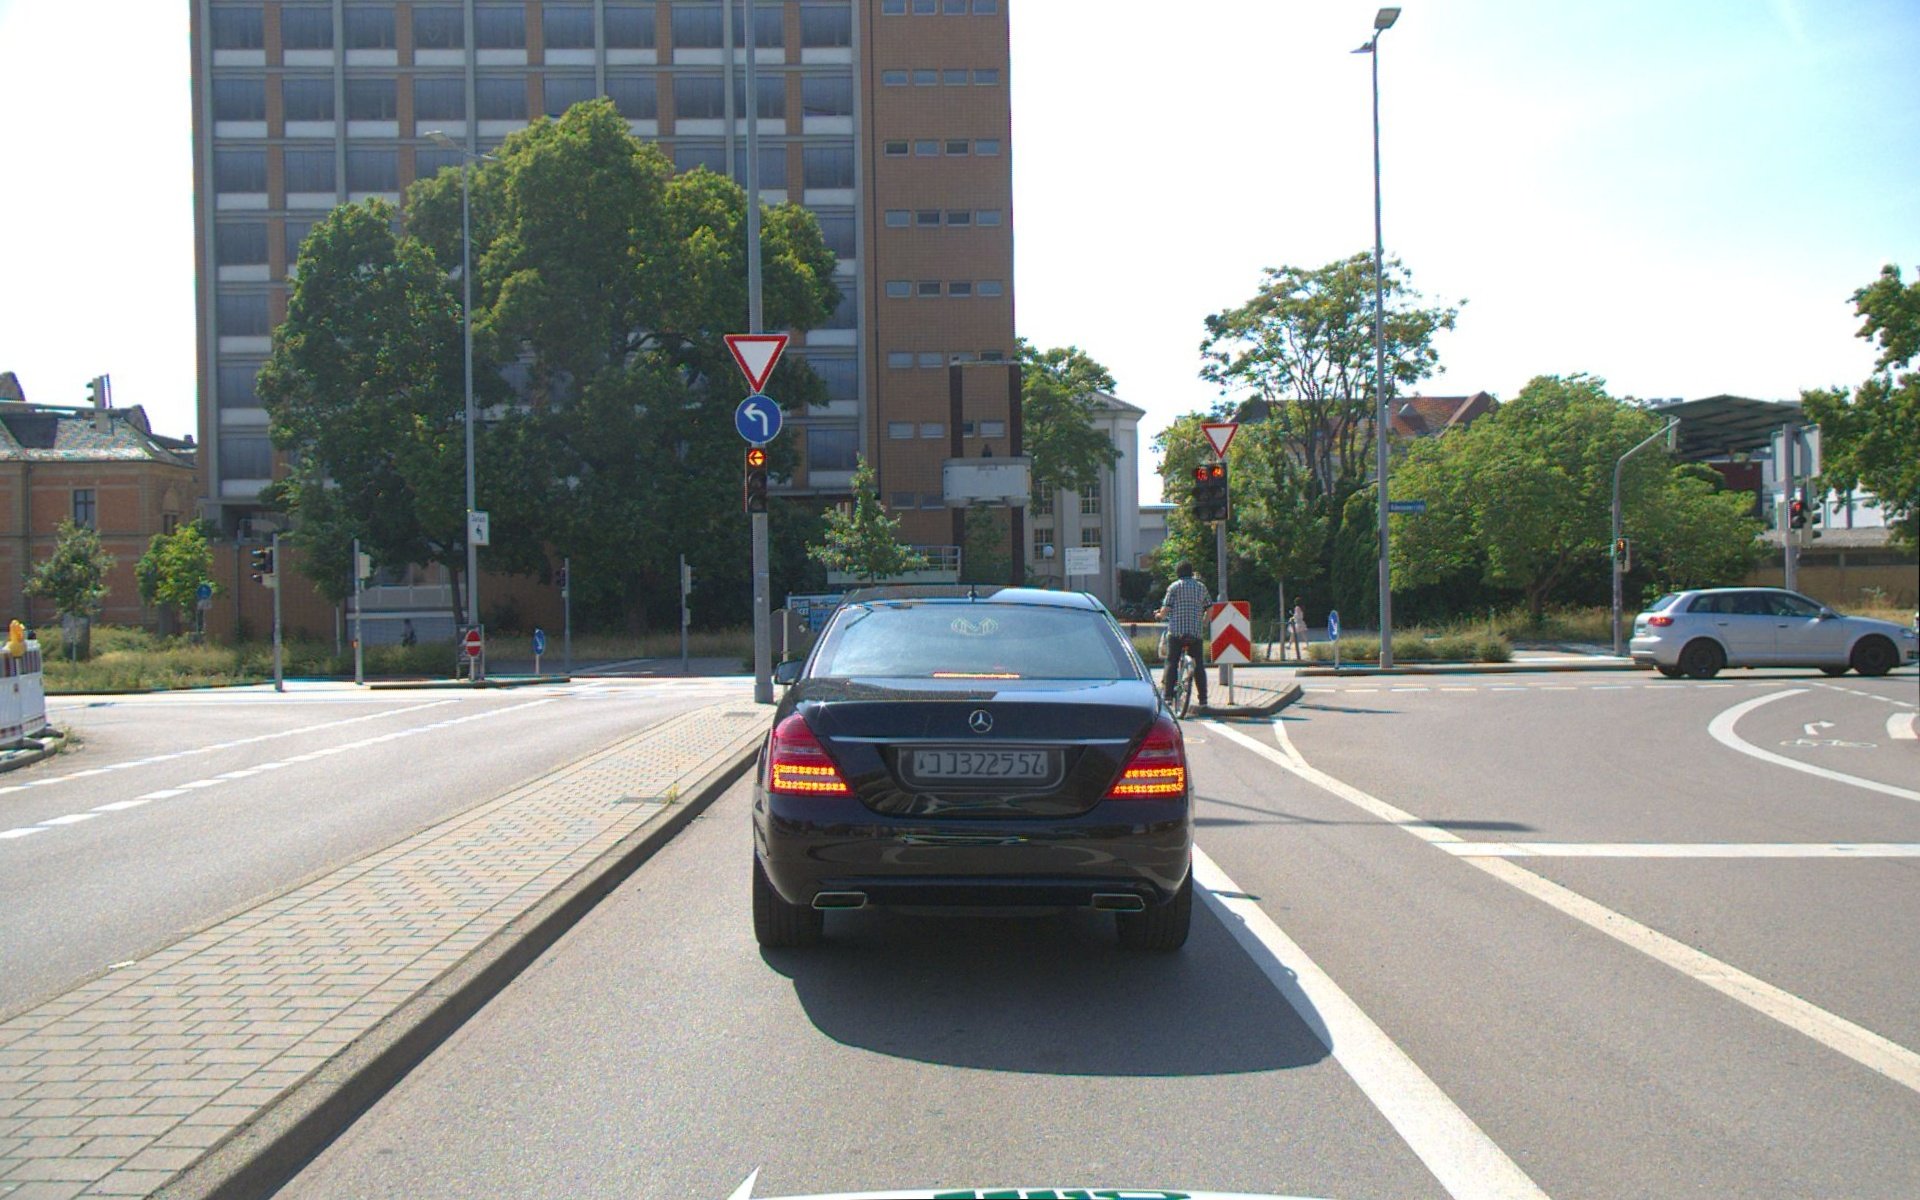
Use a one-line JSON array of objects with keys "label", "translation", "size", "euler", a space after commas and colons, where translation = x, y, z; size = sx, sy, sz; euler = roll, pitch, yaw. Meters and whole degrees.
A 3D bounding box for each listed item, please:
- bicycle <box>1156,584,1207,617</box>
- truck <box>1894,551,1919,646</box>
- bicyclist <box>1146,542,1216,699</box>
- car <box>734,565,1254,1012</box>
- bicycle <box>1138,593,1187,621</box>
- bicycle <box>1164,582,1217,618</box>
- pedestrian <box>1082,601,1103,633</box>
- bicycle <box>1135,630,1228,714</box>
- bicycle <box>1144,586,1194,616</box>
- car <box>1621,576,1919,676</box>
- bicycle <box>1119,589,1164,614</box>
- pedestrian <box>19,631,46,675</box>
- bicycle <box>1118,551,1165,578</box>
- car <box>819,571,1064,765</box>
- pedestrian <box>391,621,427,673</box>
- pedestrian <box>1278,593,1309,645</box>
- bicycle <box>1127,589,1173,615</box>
[{"label": "bicycle", "translation": [12.581, 0.005, 93.968], "size": [2.766, 1.775, 0.841], "euler": [-2, 0, -2]}, {"label": "truck", "translation": [27.773, -0.135, 41.853], "size": [6.881, 2.397, 2.413], "euler": [-2, 0, 0]}, {"label": "bicyclist", "translation": [2.744, 0.255, 20.624], "size": [0.673, 1.911, 0.858], "euler": [0, 0, -7]}, {"label": "car", "translation": [0.013, 0.676, 8.173], "size": [1.821, 1.557, 4.711], "euler": [1, 0, -3]}, {"label": "bicycle", "translation": [12.063, 0.430, 98.562], "size": [2.766, 1.564, 0.841], "euler": [-2, 0, -2]}, {"label": "bicycle", "translation": [12.751, -0.001, 91.712], "size": [2.766, 1.868, 0.841], "euler": [-2, 0, -2]}, {"label": "pedestrian", "translation": [5.111, 0.654, 63.875], "size": [0.776, 1.235, 0.758], "euler": [1, 0, 6]}, {"label": "bicycle", "translation": [2.738, 0.877, 20.651], "size": [0.679, 0.963, 1.955], "euler": [1, 0, -7]}, {"label": "bicycle", "translation": [12.191, 0.058, 96.507], "size": [2.766, 1.688, 0.841], "euler": [-2, 1, -2]}, {"label": "car", "translation": [12.915, 0.412, 26.457], "size": [4.069, 1.445, 1.586], "euler": [-2, 0, 9]}, {"label": "bicycle", "translation": [11.623, 0.108, 106.238], "size": [2.765, 1.506, 0.841], "euler": [-2, 0, 0]}, {"label": "pedestrian", "translation": [-36.644, 2.094, 65.364], "size": [0.635, 1.690, 0.649], "euler": [1, -1, 25]}, {"label": "bicycle", "translation": [11.236, -2.185, 102.472], "size": [2.766, 1.586, 0.841], "euler": [-2, 0, -2]}, {"label": "car", "translation": [-0.174, 0.560, 15.358], "size": [1.953, 1.534, 3.999], "euler": [1, 0, -1]}, {"label": "pedestrian", "translation": [-19.166, 1.634, 57.532], "size": [0.781, 1.756, 0.873], "euler": [-2, -1, 22]}, {"label": "pedestrian", "translation": [10.490, 0.585, 52.056], "size": [0.794, 1.607, 0.692], "euler": [-1, -1, 1]}, {"label": "bicycle", "translation": [12.007, 0.128, 104.722], "size": [2.766, 1.526, 0.841], "euler": [-2, 0, -2]}]
